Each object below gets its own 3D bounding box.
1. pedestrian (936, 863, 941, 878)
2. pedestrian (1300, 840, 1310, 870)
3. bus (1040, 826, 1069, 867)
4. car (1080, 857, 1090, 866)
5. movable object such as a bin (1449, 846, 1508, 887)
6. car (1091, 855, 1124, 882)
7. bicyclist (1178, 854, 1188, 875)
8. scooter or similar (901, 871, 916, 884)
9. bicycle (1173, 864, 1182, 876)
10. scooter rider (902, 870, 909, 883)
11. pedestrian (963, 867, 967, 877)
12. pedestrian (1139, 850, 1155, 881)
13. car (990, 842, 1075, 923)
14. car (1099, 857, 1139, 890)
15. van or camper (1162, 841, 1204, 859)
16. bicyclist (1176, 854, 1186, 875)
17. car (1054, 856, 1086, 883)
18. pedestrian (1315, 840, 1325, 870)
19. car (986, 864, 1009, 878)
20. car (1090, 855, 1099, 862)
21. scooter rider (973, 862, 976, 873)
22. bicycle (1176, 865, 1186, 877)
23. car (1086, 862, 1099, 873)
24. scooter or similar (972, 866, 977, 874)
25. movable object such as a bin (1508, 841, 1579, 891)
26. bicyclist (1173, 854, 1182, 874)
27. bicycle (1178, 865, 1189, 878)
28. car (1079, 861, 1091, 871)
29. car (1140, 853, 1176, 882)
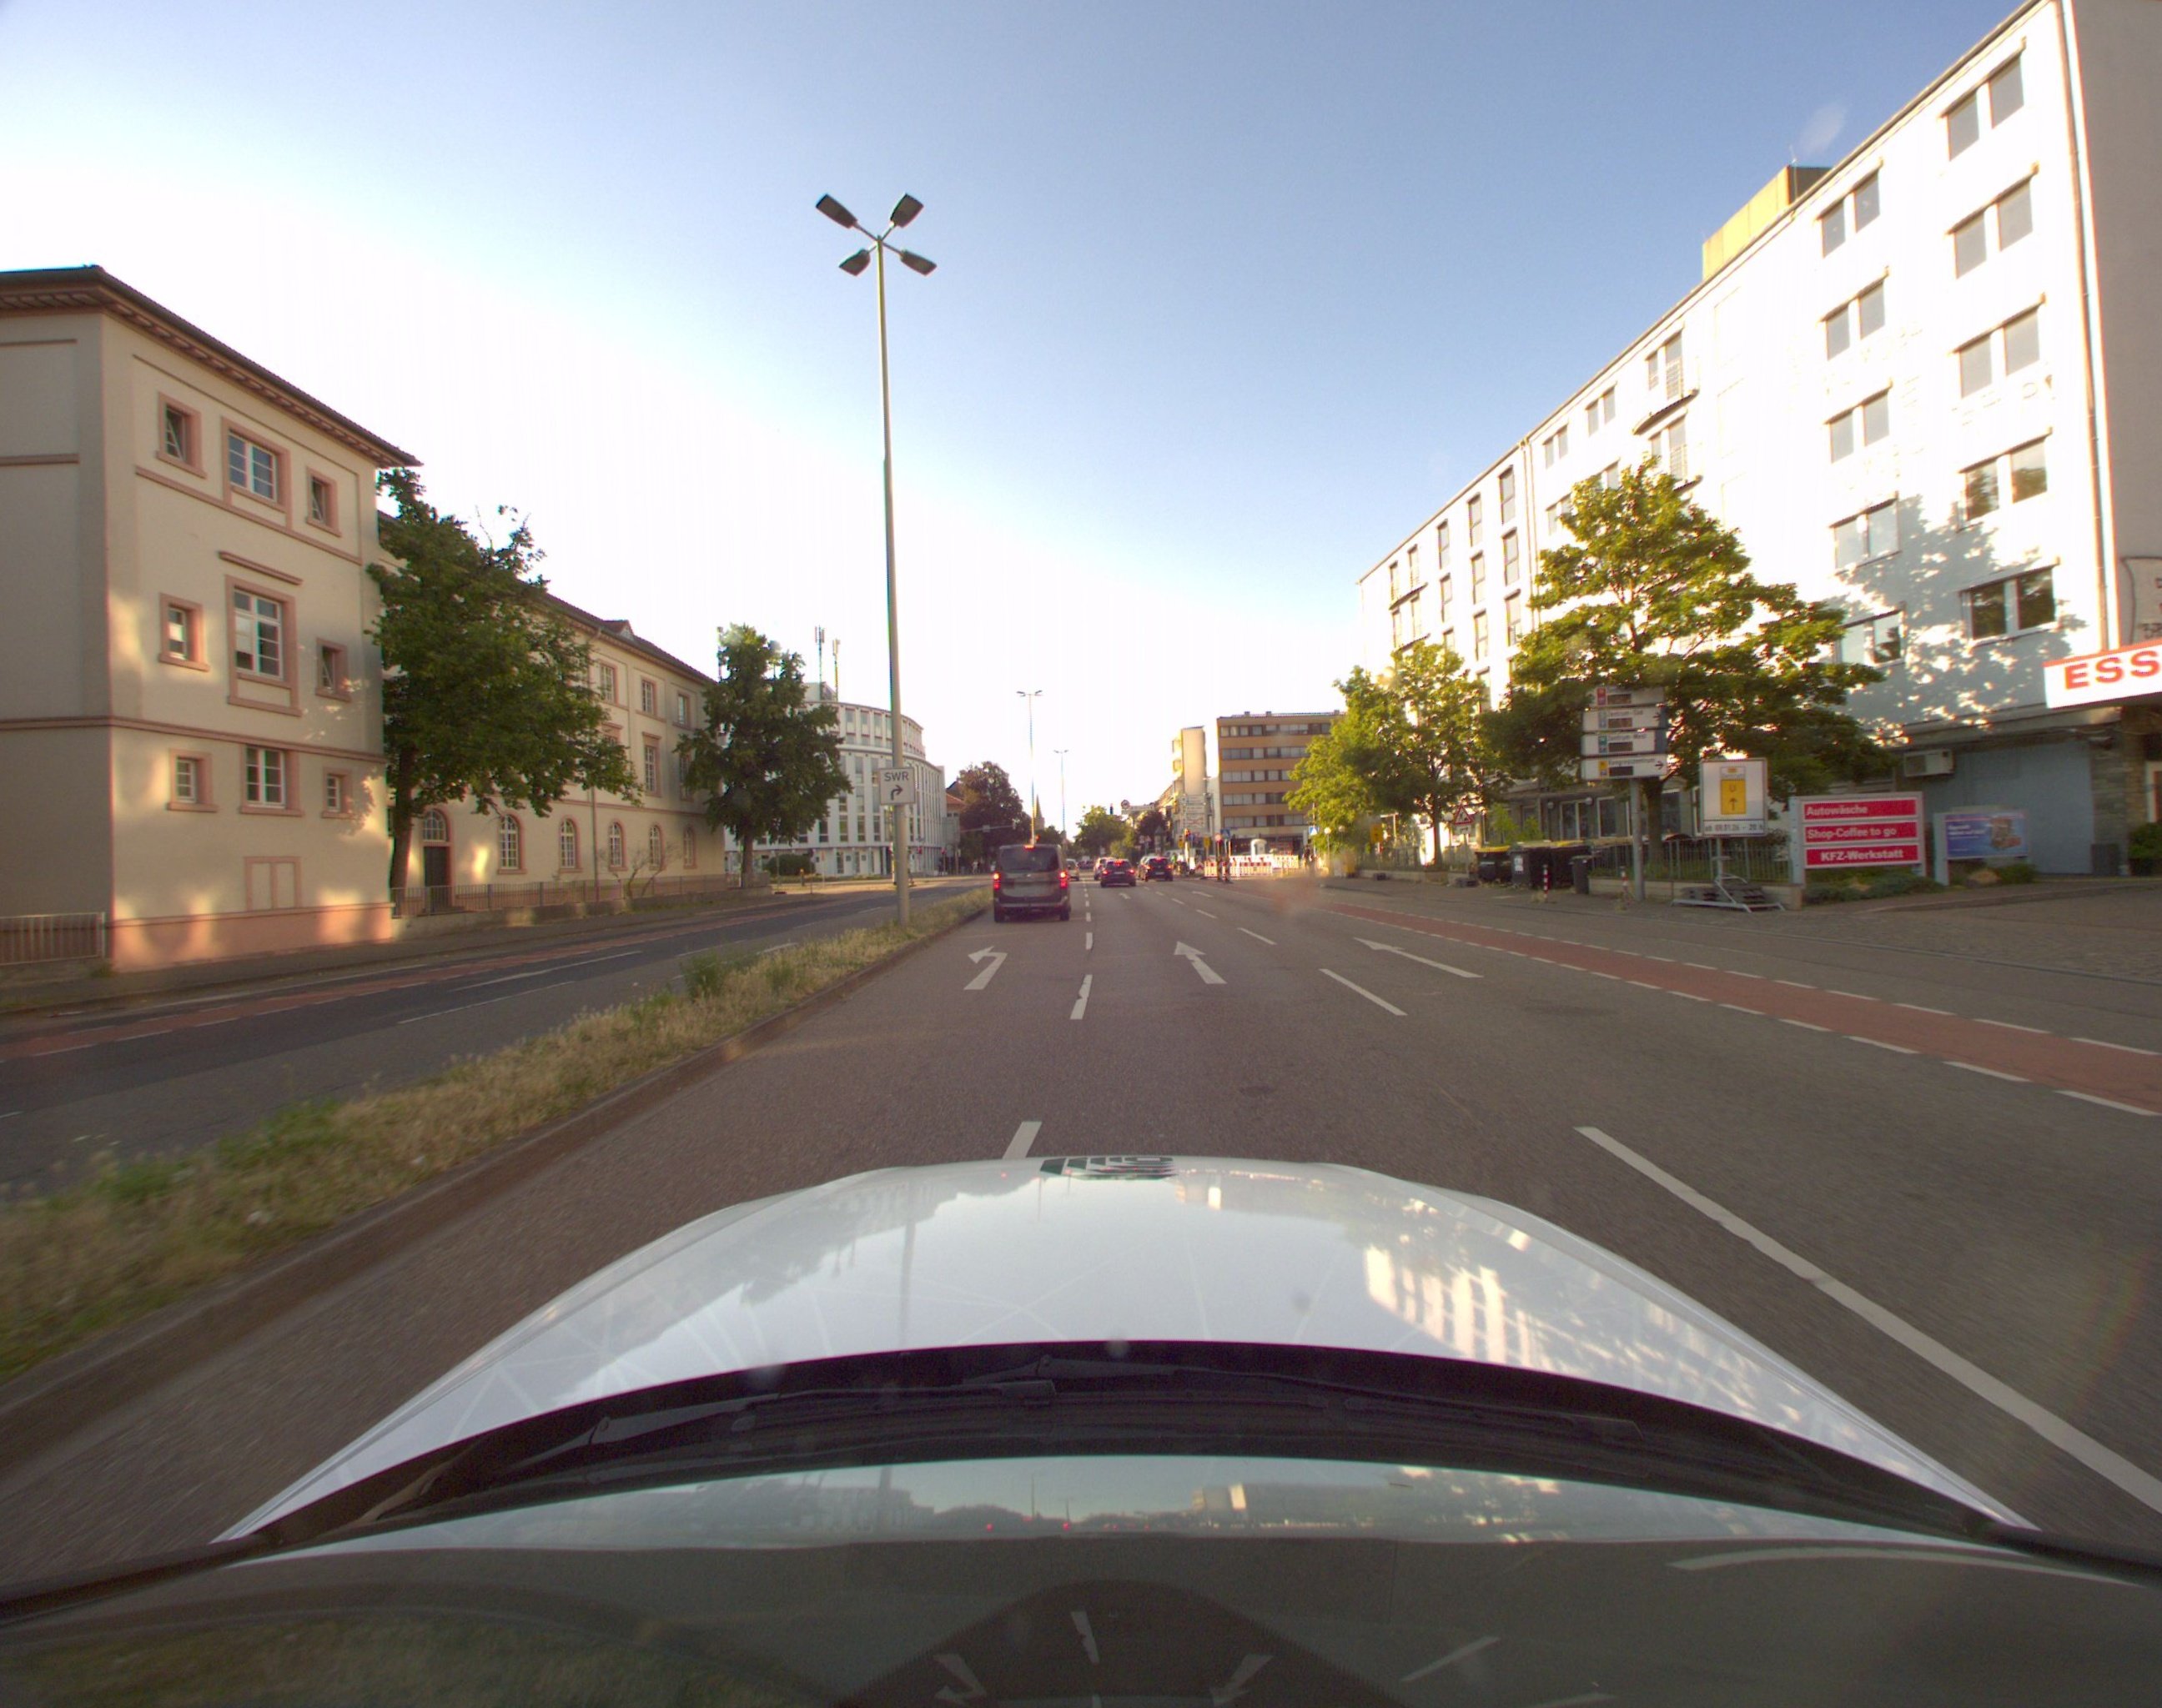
[{"bbox_3d":[-16.014,1.904,91.773,0.374,1.660,0.569,-3,-1,2],"label":"pedestrian"},{"bbox_3d":[15.144,0.091,55.138,0.486,2.013,0.668,-3,-1,21],"label":"pedestrian"},{"bbox_3d":[-3.229,-0.791,97.851,3.281,4.617,9.991,-1,0,-2],"label":"bus"},{"bbox_3d":[0.860,1.637,175.867,1.845,1.708,3.720,-2,0,-4],"label":"car"},{"bbox_3d":[14.163,0.437,29.052,1.454,1.386,1.551,-3,0,9],"label":"movable object such as a bin"},{"bbox_3d":[1.787,0.966,56.040,1.988,1.656,4.296,-3,0,-2],"label":"car"},{"bbox_3d":[7.037,0.728,56.089,0.539,1.459,0.641,-3,-1,1],"label":"bicyclist"},{"bbox_3d":[-13.396,1.837,63.238,1.099,0.976,0.557,-1,-1,-9],"label":"scooter or similar"},{"bbox_3d":[7.222,1.222,60.938,0.531,0.847,1.684,-3,0,2],"label":"bicycle"},{"bbox_3d":[-13.624,1.731,63.208,0.509,1.036,0.445,-1,-1,-10],"label":"scooter rider"},{"bbox_3d":[-14.354,2.215,100.543,0.352,1.290,0.379,-3,-1,1],"label":"pedestrian"},{"bbox_3d":[4.453,0.768,55.231,1.014,2.014,1.098,-1,-1,1],"label":"pedestrian"},{"bbox_3d":[-1.277,0.651,21.473,1.989,1.900,4.294,0,1,-4],"label":"car"},{"bbox_3d":[2.048,0.991,42.570,1.836,1.544,3.637,-2,0,6],"label":"car"},{"bbox_3d":[12.441,-0.465,99.435,4.520,2.013,2.013,-3,0,30],"label":"van or camper"},{"bbox_3d":[7.144,0.742,58.234,0.539,1.459,0.641,-3,-1,1],"label":"bicyclist"},{"bbox_3d":[-0.775,1.005,55.357,1.988,1.656,4.296,-3,0,-2],"label":"car"},{"bbox_3d":[16.071,0.073,54.780,0.486,2.013,0.668,-3,-1,21],"label":"pedestrian"},{"bbox_3d":[-10.530,2.178,103.202,1.982,1.595,4.009,-2,0,8],"label":"car"},{"bbox_3d":[3.464,1.068,205.227,1.845,1.708,3.720,-2,0,-4],"label":"car"},{"bbox_3d":[-12.970,1.628,99.174,0.354,1.373,0.337,-3,-1,1],"label":"scooter rider"},{"bbox_3d":[7.171,1.205,58.251,0.531,0.847,1.684,-3,0,2],"label":"bicycle"},{"bbox_3d":[1.630,1.955,118.757,1.735,1.586,4.001,-3,0,2],"label":"car"},{"bbox_3d":[-12.966,1.919,99.081,0.356,0.896,0.905,-3,0,2],"label":"scooter or similar"},{"bbox_3d":[14.490,0.373,25.593,1.454,1.454,1.551,-3,0,9],"label":"movable object such as a bin"},{"bbox_3d":[7.190,0.762,60.906,0.539,1.459,0.641,-3,-1,1],"label":"bicyclist"},{"bbox_3d":[7.061,1.194,56.017,0.531,0.847,1.684,-3,0,2],"label":"bicycle"},{"bbox_3d":[0.633,1.908,130.829,1.735,1.586,4.001,-3,0,2],"label":"car"},{"bbox_3d":[4.761,0.818,50.828,1.986,1.656,4.301,-3,0,2],"label":"car"}]
